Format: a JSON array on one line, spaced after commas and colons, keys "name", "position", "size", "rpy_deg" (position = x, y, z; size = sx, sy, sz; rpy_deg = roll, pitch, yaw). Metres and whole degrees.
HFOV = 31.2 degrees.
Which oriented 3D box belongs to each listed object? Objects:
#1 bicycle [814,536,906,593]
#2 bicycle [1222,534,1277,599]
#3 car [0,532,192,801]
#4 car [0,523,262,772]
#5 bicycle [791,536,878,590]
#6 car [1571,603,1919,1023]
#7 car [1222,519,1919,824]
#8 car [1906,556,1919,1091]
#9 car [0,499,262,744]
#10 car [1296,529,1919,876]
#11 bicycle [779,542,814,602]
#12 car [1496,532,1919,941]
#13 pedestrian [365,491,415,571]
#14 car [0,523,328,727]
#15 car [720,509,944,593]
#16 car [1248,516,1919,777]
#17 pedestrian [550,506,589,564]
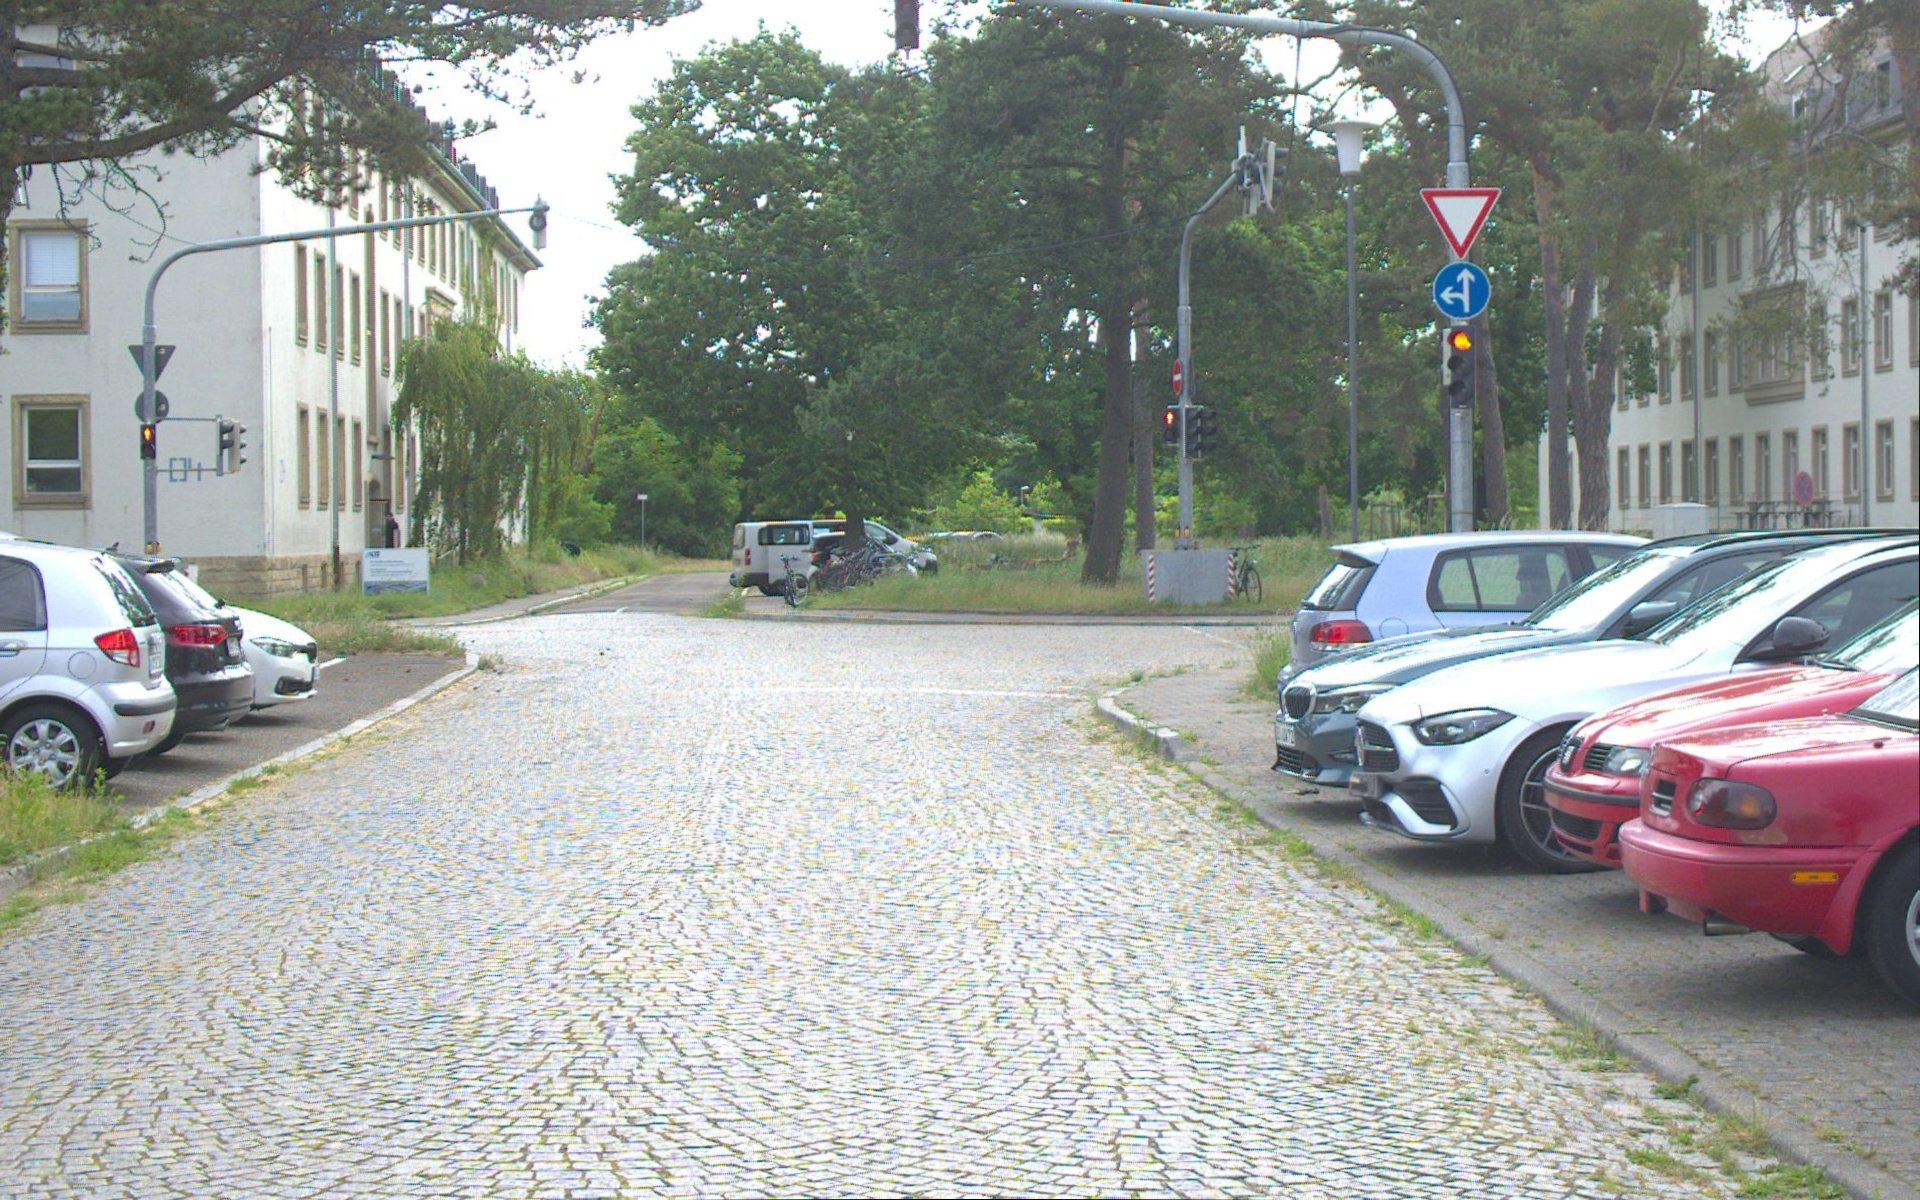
[{"name": "bicycle", "position": [-2.129, -0.764, 73.330], "size": [1.881, 1.167, 0.665], "rpy_deg": [1, 1, -8]}, {"name": "bicycle", "position": [4.906, -0.575, 58.340], "size": [0.663, 1.047, 1.888], "rpy_deg": [1, 2, -2]}, {"name": "car", "position": [-6.499, 0.322, 20.058], "size": [3.720, 1.475, 1.673], "rpy_deg": [2, 1, -5]}, {"name": "car", "position": [-6.856, 0.317, 22.643], "size": [4.297, 1.548, 1.812], "rpy_deg": [-1, 1, -8]}, {"name": "bicycle", "position": [-2.805, -0.836, 76.802], "size": [1.881, 1.167, 0.665], "rpy_deg": [1, 1, -8]}, {"name": "car", "position": [3.986, 0.629, 11.395], "size": [3.586, 1.218, 1.629], "rpy_deg": [-1, 1, -1]}, {"name": "car", "position": [3.729, 0.335, 18.859], "size": [4.227, 1.474, 1.710], "rpy_deg": [-2, 1, -13]}, {"name": "car", "position": [4.438, 0.601, 8.785], "size": [3.505, 1.482, 1.743], "rpy_deg": [-1, 1, -3]}, {"name": "car", "position": [-7.427, 0.163, 25.425], "size": [4.297, 1.726, 1.653], "rpy_deg": [-1, 1, -8]}, {"name": "car", "position": [3.845, 0.407, 16.095], "size": [4.184, 1.432, 1.756], "rpy_deg": [-1, 1, -10]}, {"name": "bicycle", "position": [-3.263, -0.560, 68.648], "size": [0.663, 1.167, 1.888], "rpy_deg": [1, 1, -2]}, {"name": "car", "position": [4.372, 0.463, 13.753], "size": [4.104, 1.471, 1.685], "rpy_deg": [-1, 1, -4]}, {"name": "pedestrian", "position": [-14.152, -1.706, 85.335], "size": [1.074, 1.952, 1.121], "rpy_deg": [1, 1, -3]}, {"name": "car", "position": [-7.358, 0.193, 27.885], "size": [4.297, 1.548, 1.812], "rpy_deg": [-1, 1, -8]}, {"name": "car", "position": [-3.284, -1.268, 88.095], "size": [5.374, 2.094, 2.179], "rpy_deg": [-1, 1, -15]}, {"name": "car", "position": [4.009, 0.252, 21.426], "size": [4.134, 1.458, 1.634], "rpy_deg": [-1, 1, -8]}, {"name": "pedestrian", "position": [-13.321, -2.212, 117.267], "size": [1.239, 1.952, 1.121], "rpy_deg": [1, 1, -8]}]
